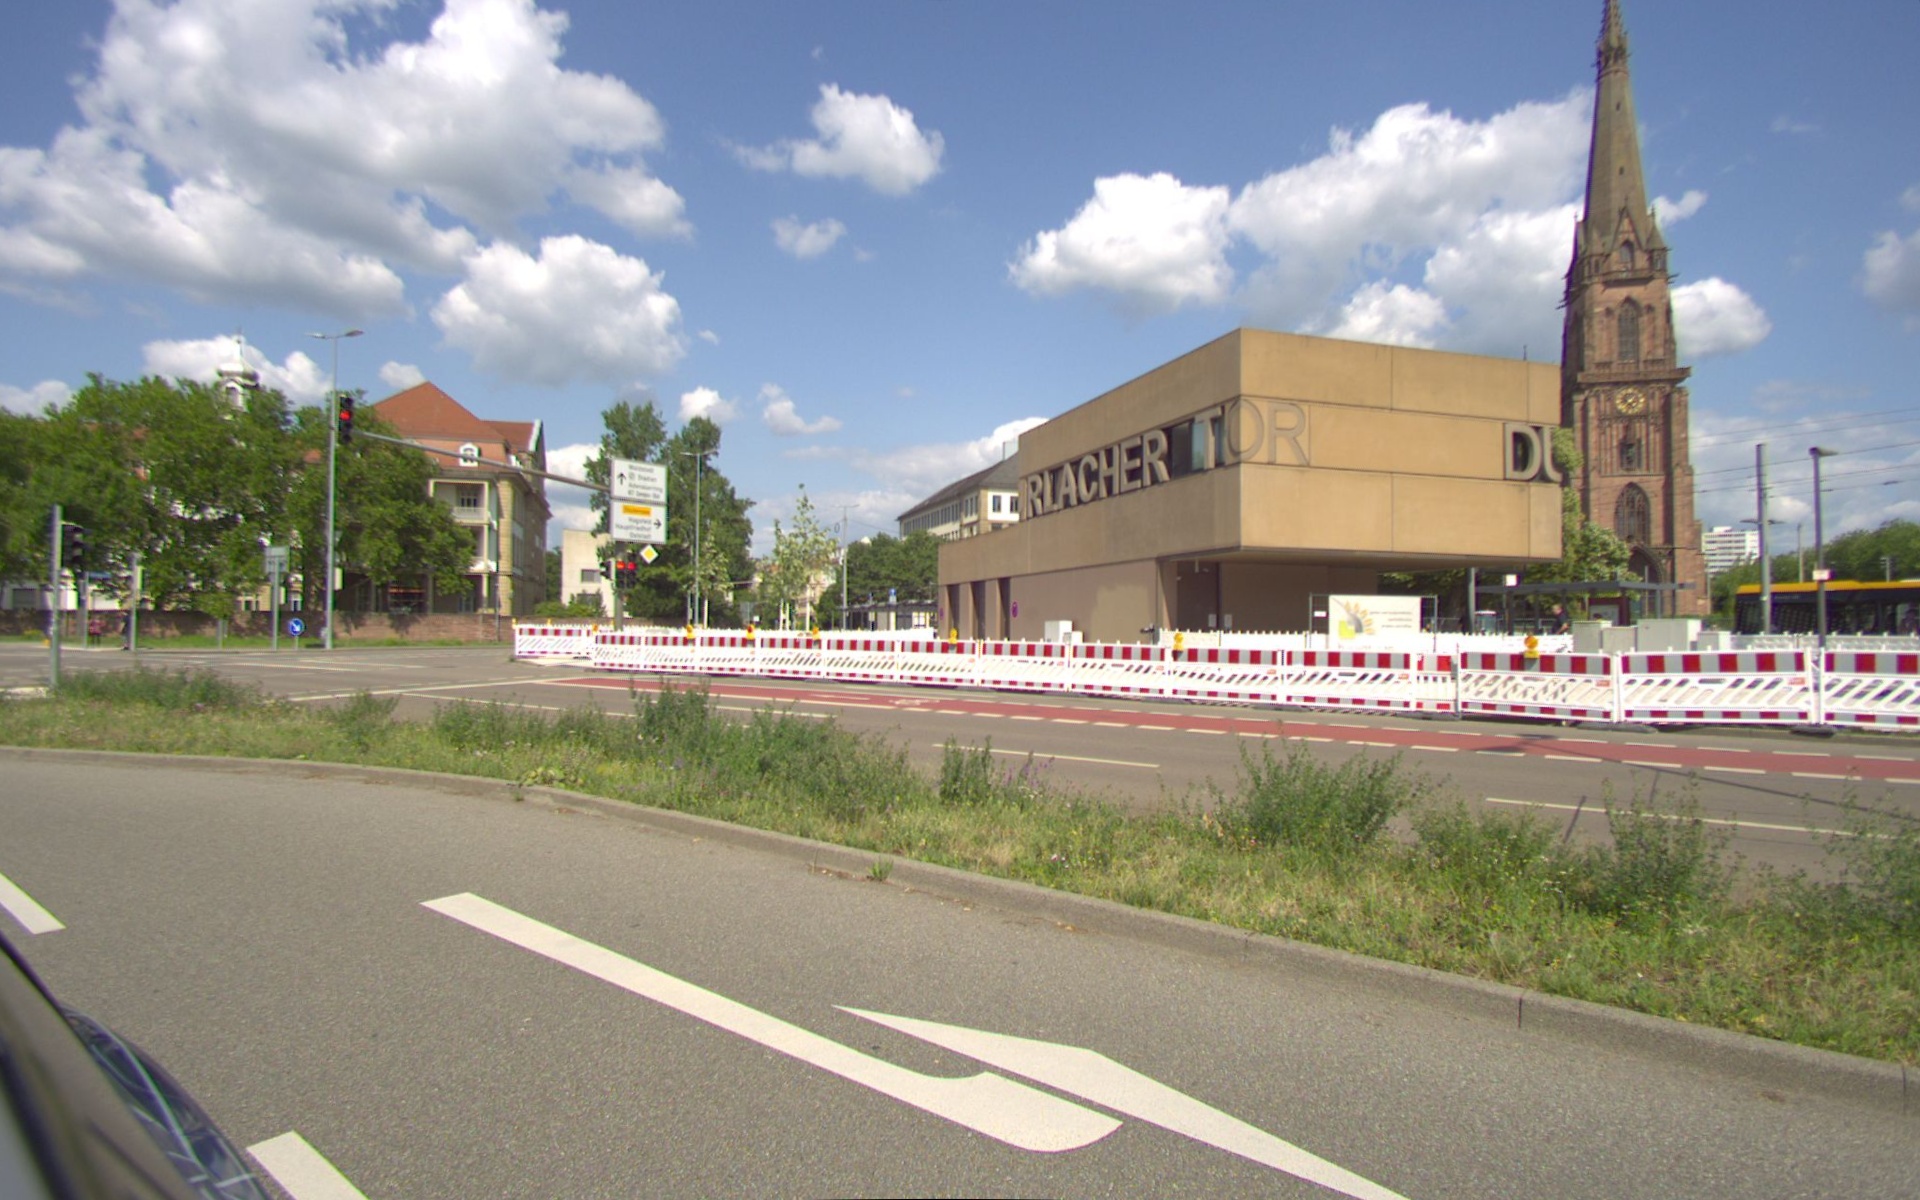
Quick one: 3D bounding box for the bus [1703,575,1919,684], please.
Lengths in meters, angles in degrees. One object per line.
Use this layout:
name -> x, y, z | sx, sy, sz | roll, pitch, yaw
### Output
bus -> 29.199, 0.866, 29.450 | 2.785, 3.160, 12.880 | 1, -2, -18

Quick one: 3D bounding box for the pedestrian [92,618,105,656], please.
pedestrian -> -40.129, 1.728, 47.137 | 0.363, 1.745, 0.452 | -1, 0, -26

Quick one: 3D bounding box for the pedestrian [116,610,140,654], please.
pedestrian -> -38.394, 1.492, 46.719 | 0.616, 2.009, 0.579 | -1, 0, 13

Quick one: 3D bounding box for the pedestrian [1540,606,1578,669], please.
pedestrian -> 16.048, 1.000, 27.135 | 0.720, 1.642, 0.561 | 1, -2, -27

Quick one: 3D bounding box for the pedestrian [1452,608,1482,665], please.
pedestrian -> 14.932, 1.066, 29.797 | 0.763, 1.644, 0.646 | 0, -1, 30
